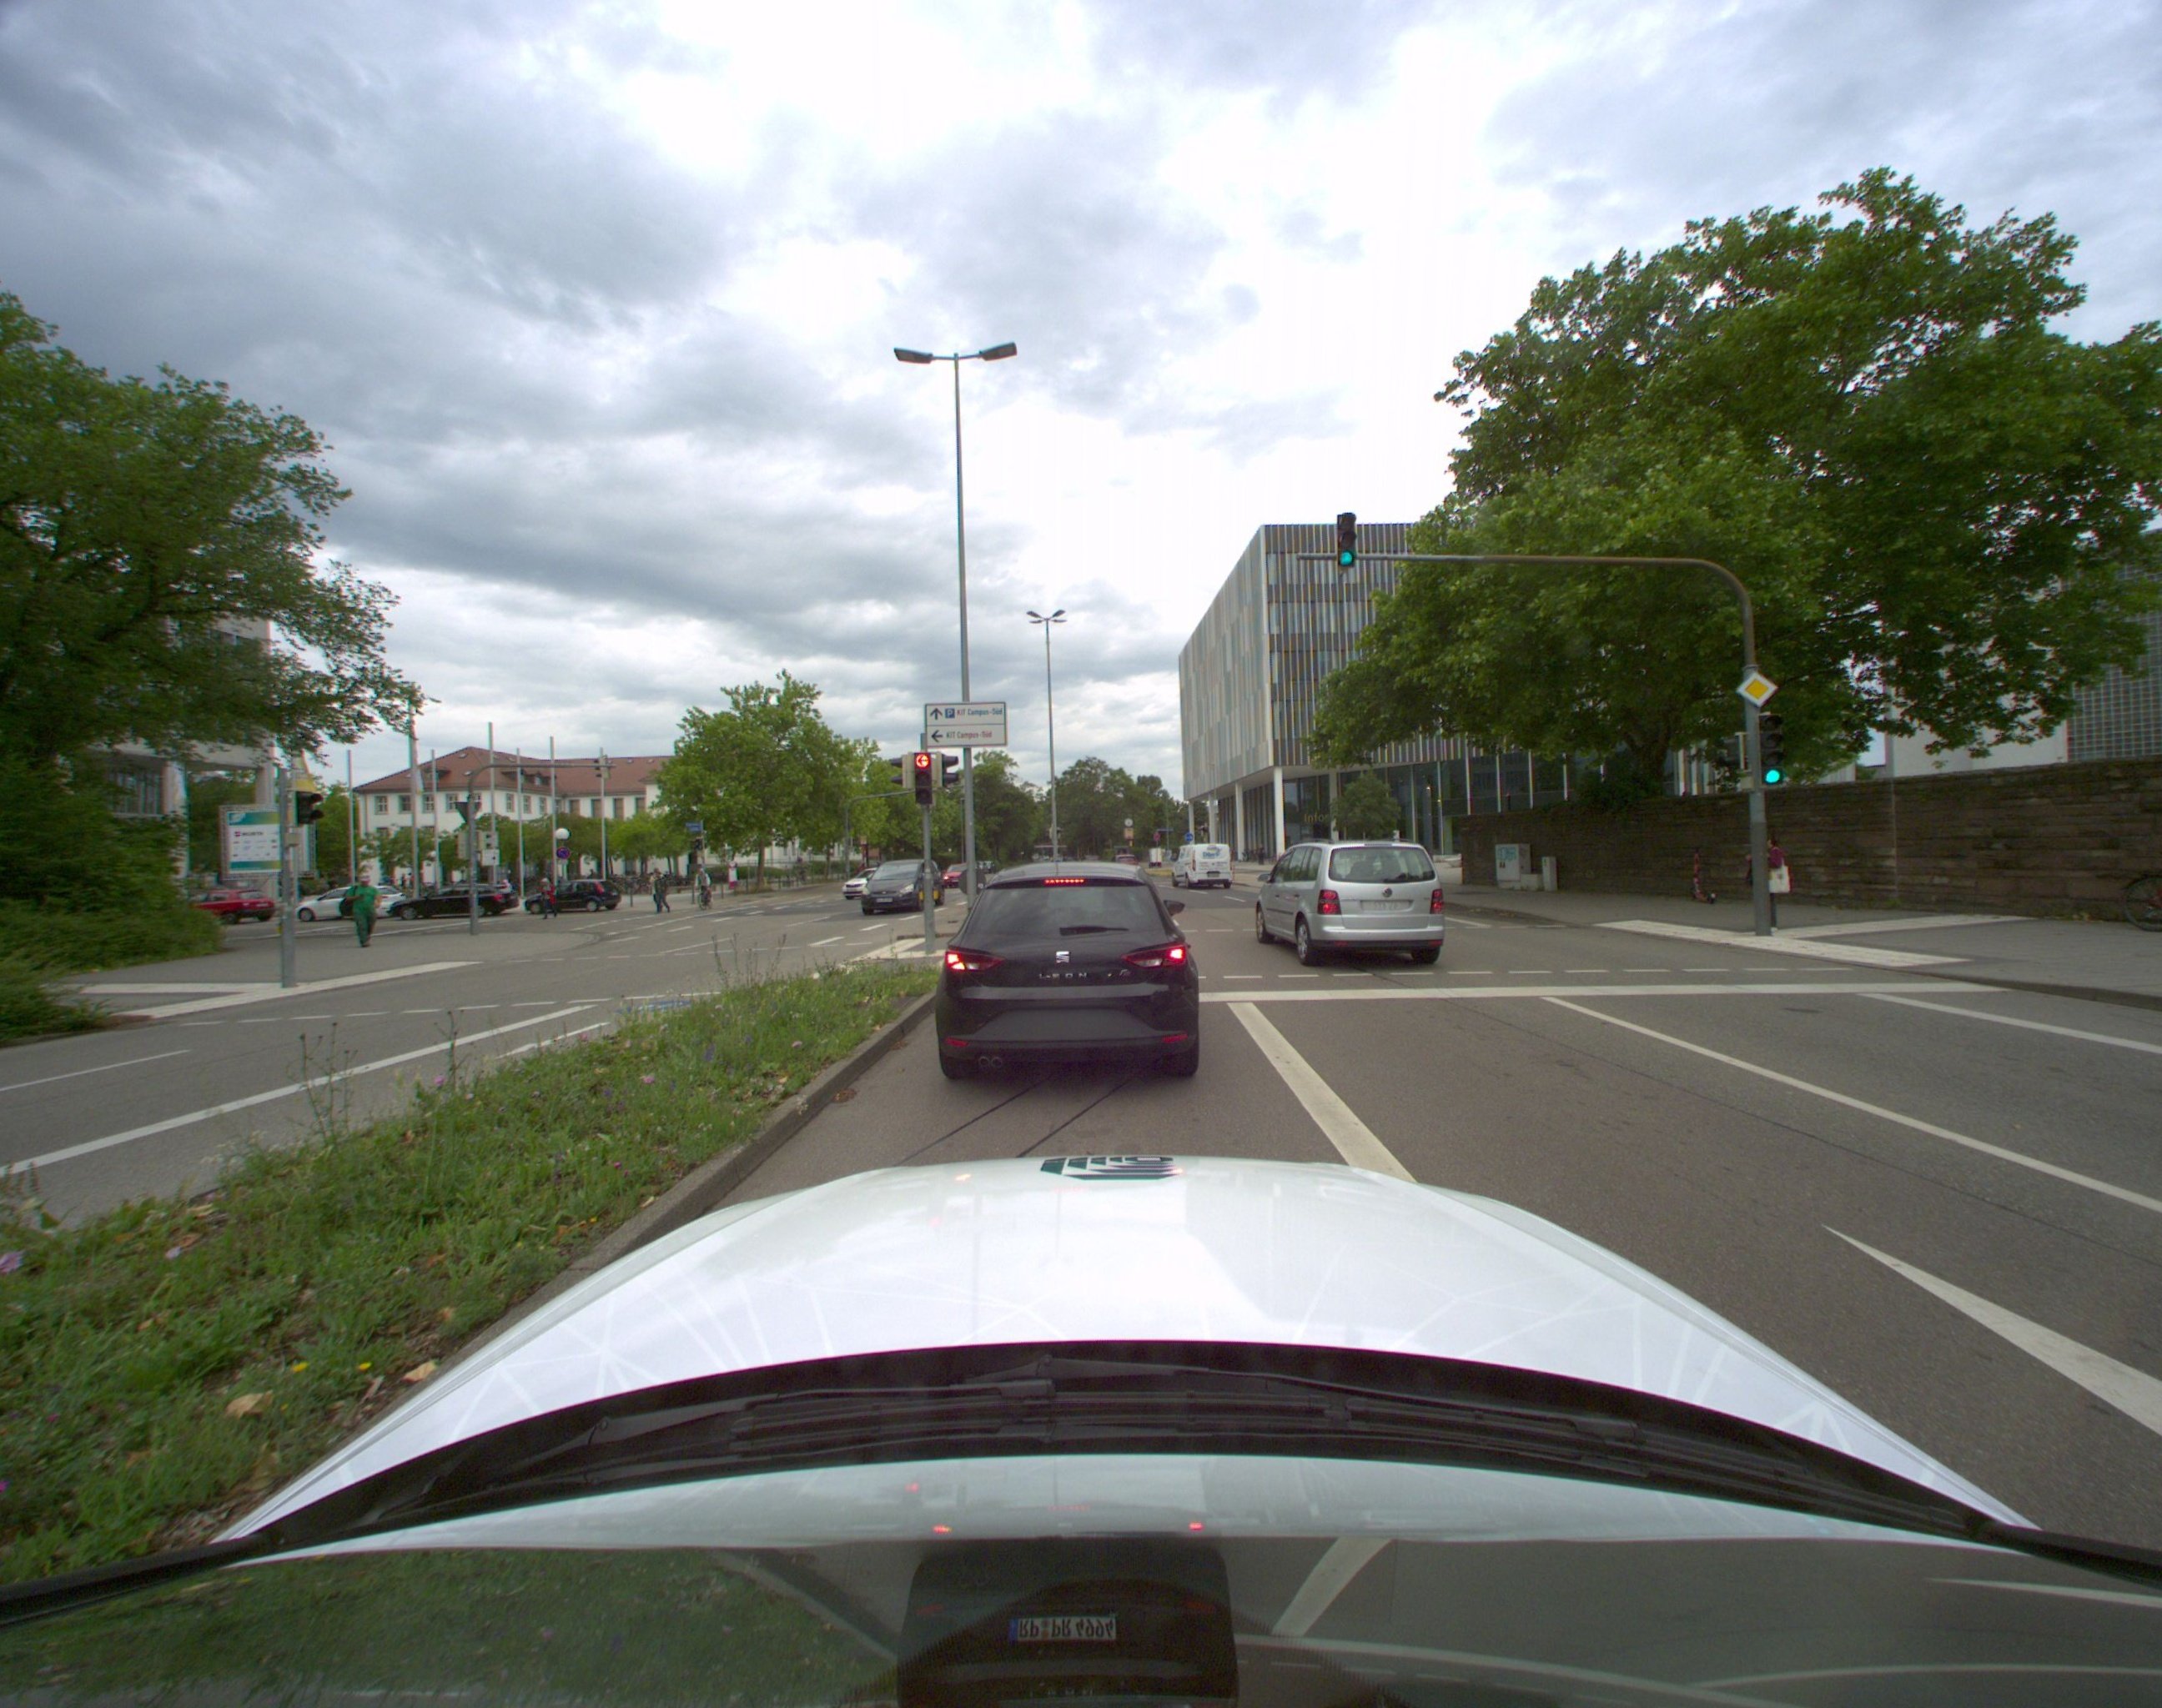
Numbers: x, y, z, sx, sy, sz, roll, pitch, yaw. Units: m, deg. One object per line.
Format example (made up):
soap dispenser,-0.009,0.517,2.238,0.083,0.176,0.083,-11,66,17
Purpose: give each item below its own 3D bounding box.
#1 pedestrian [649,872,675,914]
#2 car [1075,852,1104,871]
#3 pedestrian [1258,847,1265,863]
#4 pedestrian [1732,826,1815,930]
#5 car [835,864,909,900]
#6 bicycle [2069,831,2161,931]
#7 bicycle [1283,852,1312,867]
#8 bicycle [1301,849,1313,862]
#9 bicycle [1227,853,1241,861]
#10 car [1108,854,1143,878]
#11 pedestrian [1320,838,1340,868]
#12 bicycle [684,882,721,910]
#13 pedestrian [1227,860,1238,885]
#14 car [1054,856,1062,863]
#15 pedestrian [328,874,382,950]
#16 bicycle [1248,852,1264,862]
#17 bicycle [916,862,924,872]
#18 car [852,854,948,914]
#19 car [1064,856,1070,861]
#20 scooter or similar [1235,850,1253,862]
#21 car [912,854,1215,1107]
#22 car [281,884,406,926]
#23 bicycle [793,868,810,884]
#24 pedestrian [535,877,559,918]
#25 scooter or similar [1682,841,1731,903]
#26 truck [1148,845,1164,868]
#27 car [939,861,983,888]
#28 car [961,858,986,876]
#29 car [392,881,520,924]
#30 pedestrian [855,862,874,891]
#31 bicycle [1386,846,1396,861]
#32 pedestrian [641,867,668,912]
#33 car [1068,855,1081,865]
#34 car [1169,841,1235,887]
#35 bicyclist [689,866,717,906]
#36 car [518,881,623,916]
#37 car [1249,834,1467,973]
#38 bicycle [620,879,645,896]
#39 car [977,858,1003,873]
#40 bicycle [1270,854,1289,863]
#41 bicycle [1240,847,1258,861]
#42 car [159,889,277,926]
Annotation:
pedestrian,-16.199,1.504,31.504,0.791,1.558,0.695,-2,-4,-19
car,0.848,0.749,81.184,1.916,1.664,4.096,-4,0,-13
pedestrian,15.378,0.072,69.465,0.469,1.361,0.447,-3,0,12
pedestrian,11.089,0.373,13.060,0.657,1.561,0.636,-6,0,1
car,-10.024,1.290,39.418,1.693,1.431,4.242,-3,0,12
bicycle,13.615,0.328,9.863,0.801,1.174,1.952,-5,0,-3
bicycle,15.147,0.367,56.935,1.892,0.898,0.693,-4,0,-20
bicycle,18.832,0.114,67.845,0.614,1.045,1.716,-3,0,28
bicycle,15.940,0.298,84.764,1.368,0.705,0.417,-3,0,4
car,3.150,0.823,58.610,1.946,1.624,3.742,-1,1,-6
pedestrian,15.045,-0.052,49.221,0.844,1.764,0.768,-3,0,1
bicycle,-15.505,1.707,33.365,0.663,1.062,1.621,-1,-1,4
pedestrian,10.988,1.355,59.031,0.684,1.781,0.677,-2,0,1
car,-5.397,1.193,192.147,1.692,1.503,4.003,-3,0,-5
pedestrian,-17.575,1.374,19.715,0.948,1.759,0.865,0,-1,-42
bicycle,16.506,0.278,76.747,1.445,0.857,0.362,-4,0,-25
bicycle,-16.719,1.352,84.559,0.486,1.005,1.590,-1,1,2
car,-5.783,0.917,26.592,1.913,1.664,4.401,-4,0,2
car,-3.472,1.022,198.974,1.501,1.193,3.161,-3,0,-2
scooter or similar,15.832,0.170,79.050,1.682,1.106,0.494,-4,0,-30
car,0.031,0.733,6.599,1.745,1.432,3.773,-1,0,4
car,-33.011,2.256,36.524,3.868,1.539,1.684,-2,2,-2
bicycle,-20.972,1.647,61.115,0.606,1.060,2.041,-3,0,-4
pedestrian,-20.496,1.686,31.271,0.572,1.526,0.842,-2,-5,-22
scooter or similar,13.122,0.355,17.120,0.428,1.179,1.714,-4,0,26
truck,7.562,0.231,82.028,1.313,2.243,3.403,-3,0,2
car,-7.348,1.232,50.092,1.706,1.418,4.299,-3,0,4
car,-11.635,1.394,88.231,1.899,1.716,4.002,-3,0,2
car,-27.539,2.100,36.038,4.059,1.452,1.615,-3,5,-16
pedestrian,-12.636,1.312,47.591,0.873,1.586,0.542,-3,0,-5
bicycle,22.569,-0.051,59.240,0.616,1.056,1.959,-3,0,21
pedestrian,-17.162,1.421,32.755,0.843,1.740,0.824,-2,-5,-22
car,-1.015,0.939,129.555,1.894,1.354,3.880,-3,0,-2
car,5.466,0.439,37.350,1.964,1.972,4.334,0,0,-6
bicyclist,-15.504,1.298,33.390,0.663,1.635,0.962,-1,-1,4
car,-23.077,2.001,36.918,3.649,1.223,1.562,-1,7,-5
car,3.690,0.583,11.648,1.723,1.603,4.105,-1,0,0
bicycle,-31.049,2.344,56.386,1.405,1.052,0.585,-4,0,-19
car,-10.993,1.340,98.643,1.746,1.587,4.016,-3,0,15
bicycle,17.172,0.384,70.368,1.475,0.748,0.566,-3,0,-2
bicycle,16.214,-0.009,78.463,1.785,1.211,0.564,-4,0,-32
car,-38.119,2.335,36.033,3.341,1.479,1.559,-1,0,-5
